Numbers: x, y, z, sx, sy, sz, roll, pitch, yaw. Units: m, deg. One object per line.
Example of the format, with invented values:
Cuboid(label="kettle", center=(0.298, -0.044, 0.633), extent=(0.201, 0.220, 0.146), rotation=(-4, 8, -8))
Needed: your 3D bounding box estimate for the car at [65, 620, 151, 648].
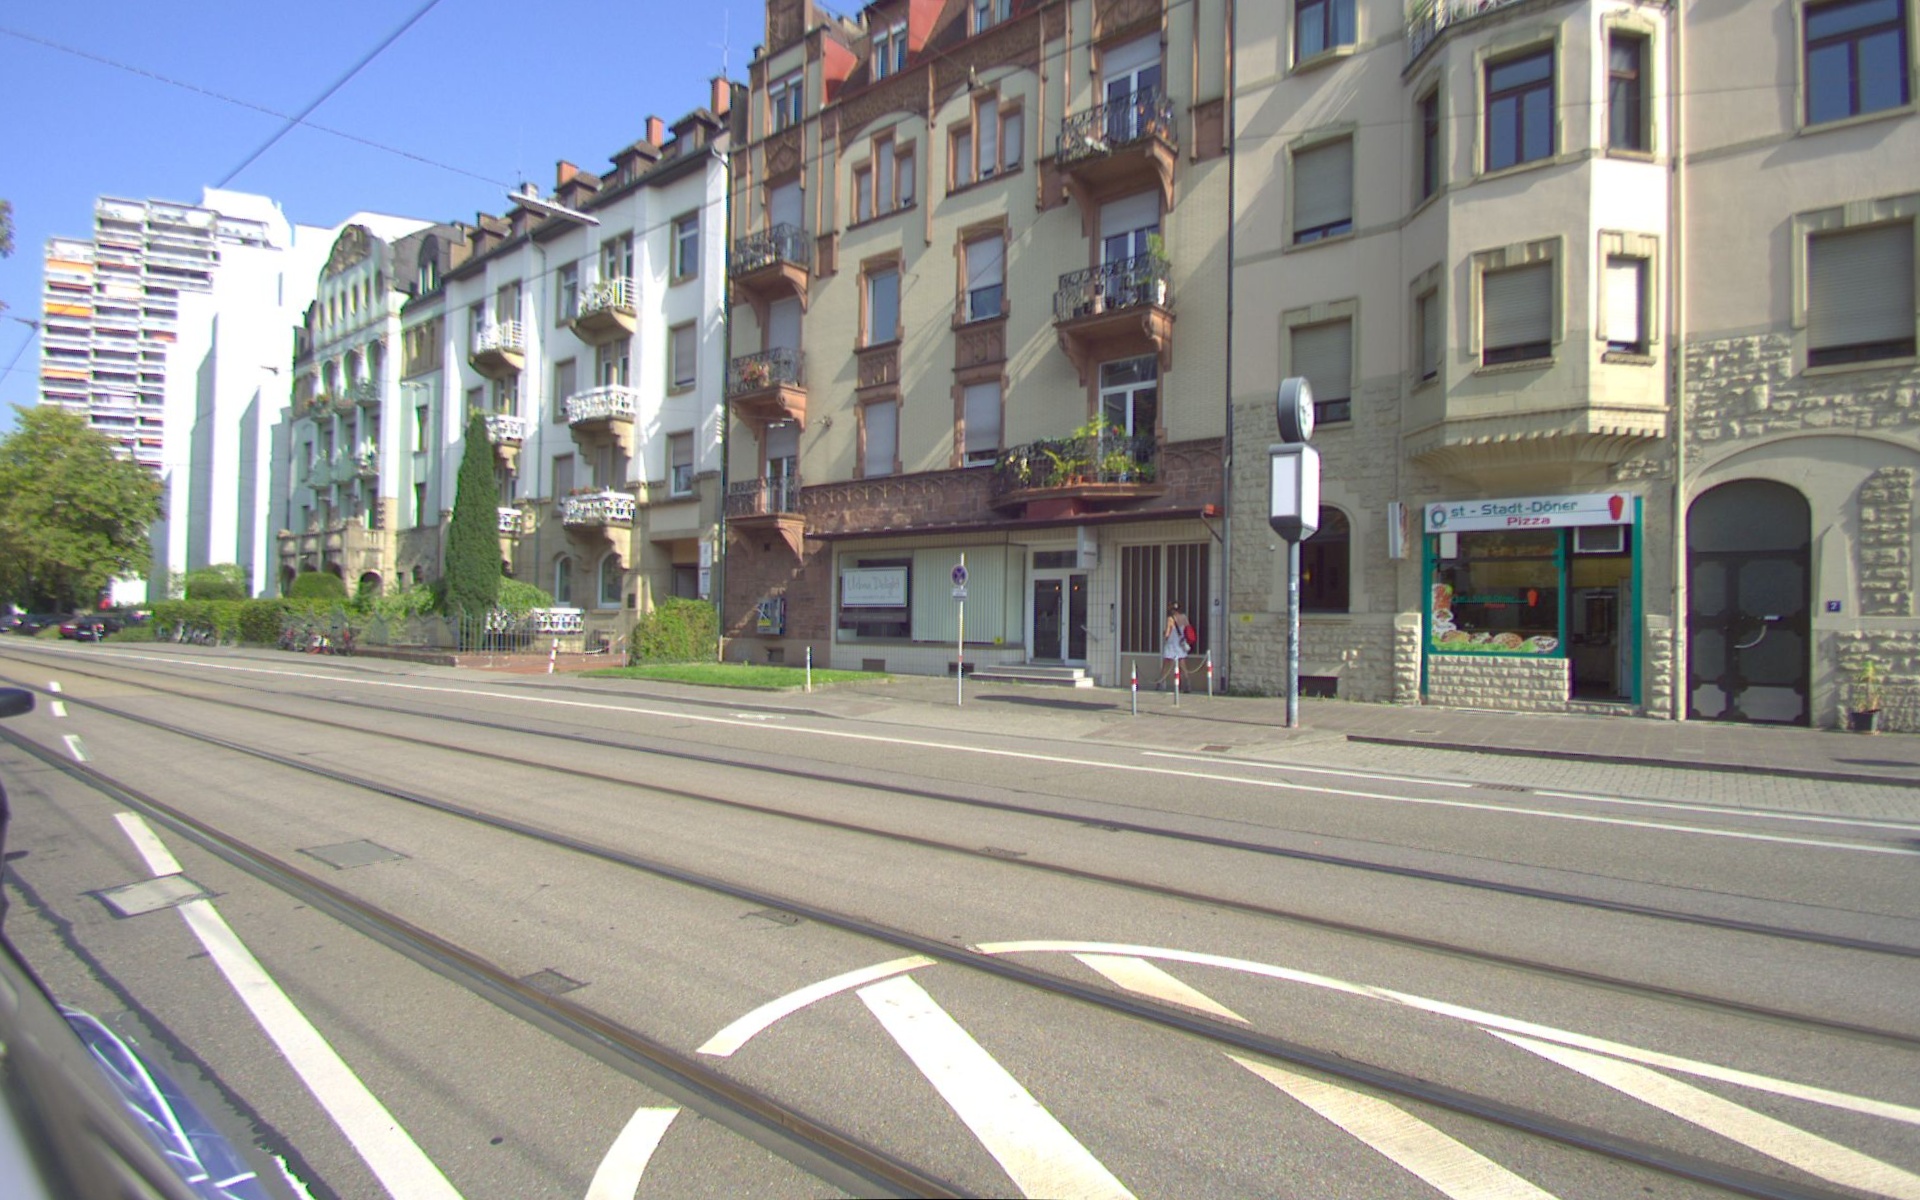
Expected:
Cuboid(label="car", center=(-48.816, 1.951, 58.092), extent=(1.745, 1.539, 4.004), rotation=(1, -2, -4))

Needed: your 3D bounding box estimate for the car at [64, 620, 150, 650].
Cuboid(label="car", center=(-46.369, 1.921, 55.114), extent=(1.744, 1.539, 4.007), rotation=(1, -2, -9))

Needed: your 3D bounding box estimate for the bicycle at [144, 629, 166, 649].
Cuboid(label="bicycle", center=(-39.499, 1.918, 49.659), extent=(1.768, 0.985, 0.420), rotation=(-1, -3, 39))

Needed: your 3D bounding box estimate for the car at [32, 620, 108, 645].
Cuboid(label="car", center=(-56.770, 2.082, 64.635), extent=(1.744, 1.539, 4.007), rotation=(1, -2, -9))

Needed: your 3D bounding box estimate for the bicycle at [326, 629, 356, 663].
Cuboid(label="bicycle", center=(-20.709, 1.522, 33.864), extent=(1.486, 1.096, 0.366), rotation=(-1, -3, 40))

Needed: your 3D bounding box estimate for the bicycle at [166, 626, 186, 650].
Cuboid(label="bicycle", center=(-36.883, 1.785, 47.599), extent=(1.676, 1.096, 0.420), rotation=(-1, -3, 42))

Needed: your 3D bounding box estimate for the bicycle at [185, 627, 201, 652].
Cuboid(label="bicycle", center=(-34.715, 1.767, 45.798), extent=(0.419, 1.096, 1.679), rotation=(3, -3, -41))

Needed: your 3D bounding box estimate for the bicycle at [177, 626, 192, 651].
Cuboid(label="bicycle", center=(-35.427, 1.760, 46.207), extent=(0.419, 1.096, 1.679), rotation=(3, -3, -41))

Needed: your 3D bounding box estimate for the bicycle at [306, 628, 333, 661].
Cuboid(label="bicycle", center=(-22.117, 1.534, 34.944), extent=(1.354, 1.096, 0.366), rotation=(-1, -3, 40))

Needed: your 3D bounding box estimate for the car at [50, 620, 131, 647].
Cuboid(label="car", center=(-51.202, 1.978, 59.665), extent=(1.744, 1.539, 4.007), rotation=(1, -2, -9))

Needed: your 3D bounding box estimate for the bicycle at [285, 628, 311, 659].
Cuboid(label="bicycle", center=(-24.113, 1.568, 36.856), extent=(1.354, 1.096, 0.366), rotation=(-1, -3, 40))

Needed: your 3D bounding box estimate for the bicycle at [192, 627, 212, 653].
Cuboid(label="bicycle", center=(-33.212, 1.751, 44.328), extent=(1.677, 1.096, 0.419), rotation=(-1, -3, 44))

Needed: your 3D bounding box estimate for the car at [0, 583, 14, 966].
Cuboid(label="car", center=(-6.000, 0.716, 4.884), extent=(4.354, 1.535, 1.590), rotation=(-1, -1, 40))

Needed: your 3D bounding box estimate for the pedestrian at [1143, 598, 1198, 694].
Cuboid(label="pedestrian", center=(4.221, 0.913, 20.260), extent=(0.829, 1.874, 0.766), rotation=(-1, -2, 38))

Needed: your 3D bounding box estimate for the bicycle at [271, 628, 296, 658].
Cuboid(label="bicycle", center=(-25.430, 1.601, 38.038), extent=(1.354, 1.096, 0.366), rotation=(-1, -3, 40))

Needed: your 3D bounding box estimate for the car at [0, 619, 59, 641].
Cuboid(label="car", center=(-66.201, 2.139, 71.585), extent=(1.744, 1.539, 4.007), rotation=(1, -2, -9))

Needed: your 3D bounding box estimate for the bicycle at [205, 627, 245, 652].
Cuboid(label="bicycle", center=(-32.055, 1.728, 44.151), extent=(0.423, 1.096, 1.385), rotation=(0, -2, 22))

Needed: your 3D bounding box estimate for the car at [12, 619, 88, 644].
Cuboid(label="car", center=(-59.304, 2.072, 66.048), extent=(1.744, 1.539, 4.007), rotation=(1, -2, -9))
